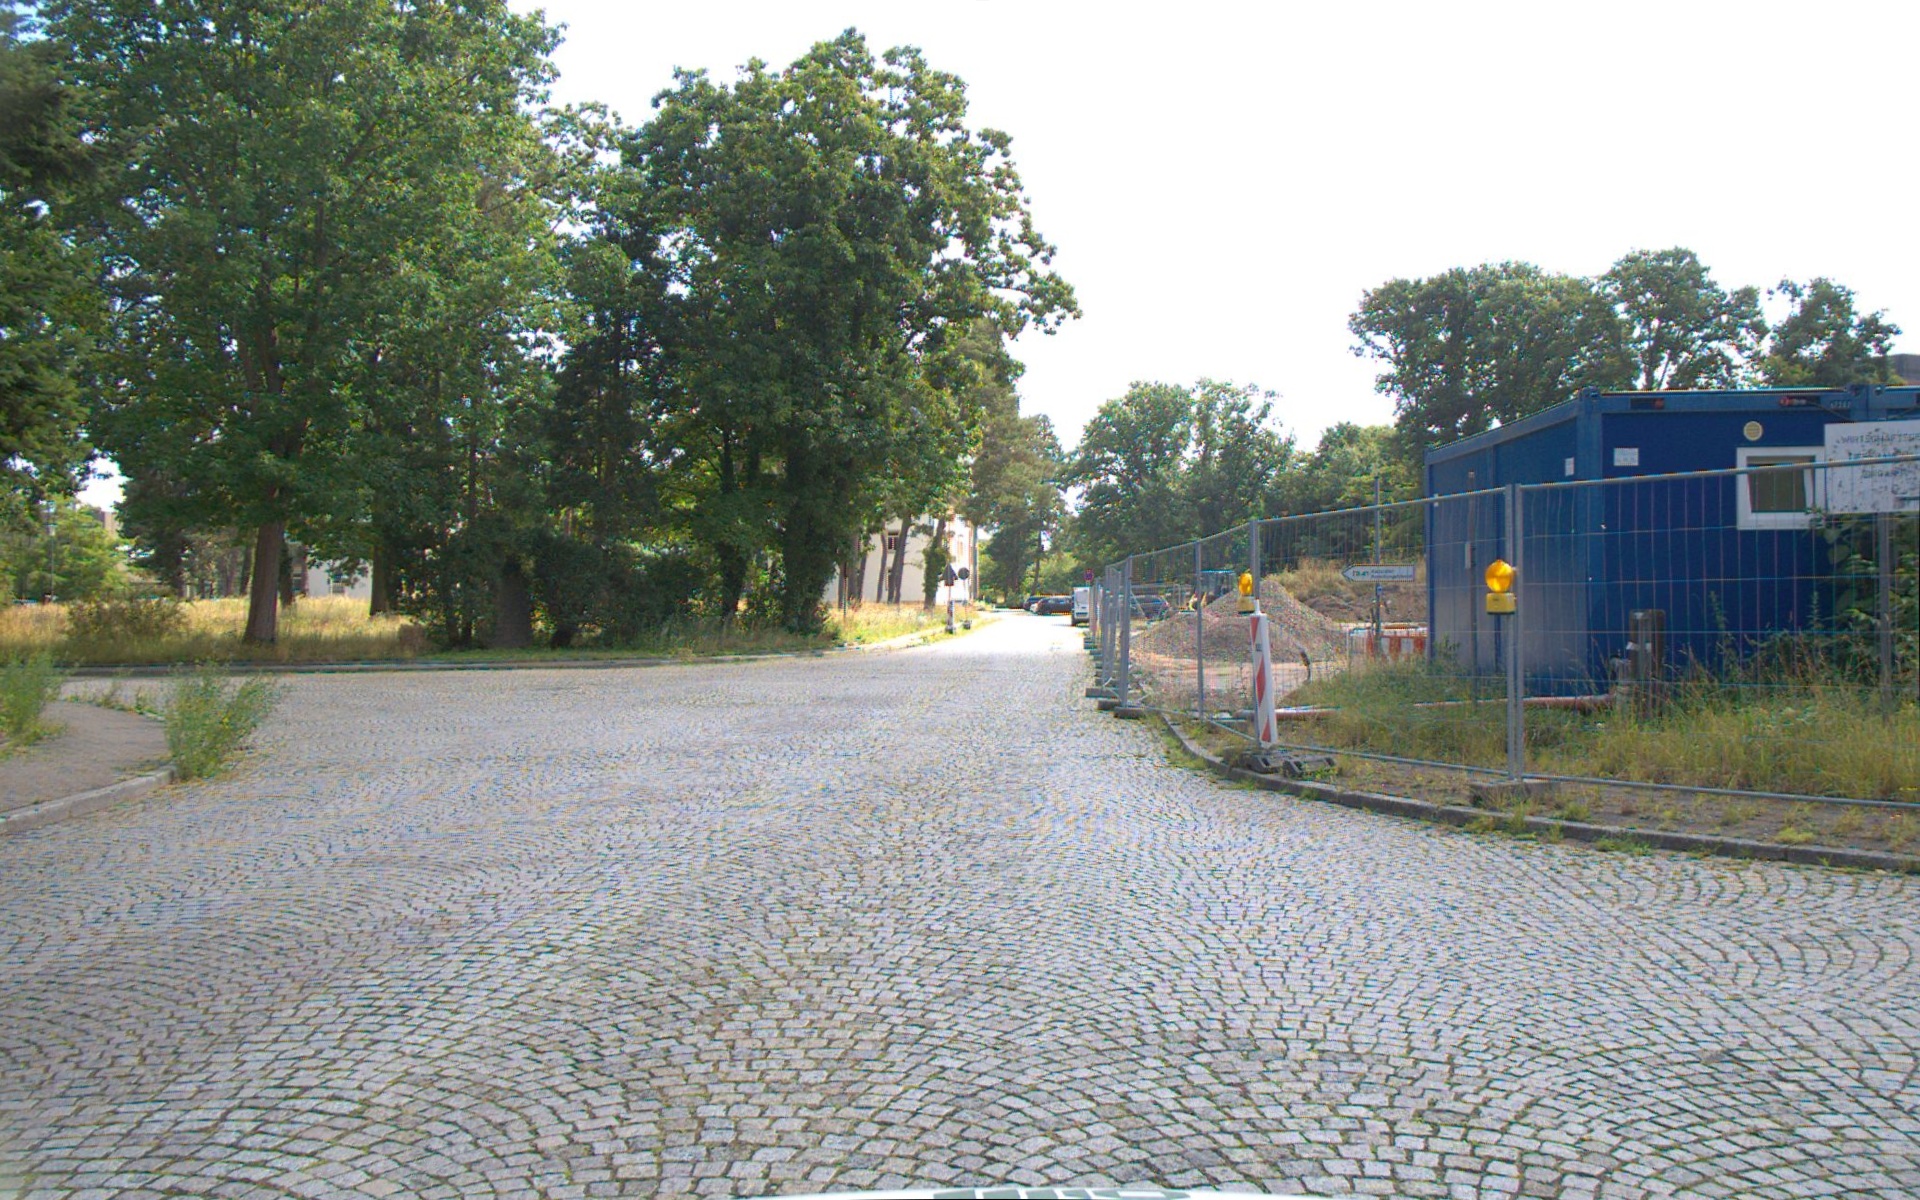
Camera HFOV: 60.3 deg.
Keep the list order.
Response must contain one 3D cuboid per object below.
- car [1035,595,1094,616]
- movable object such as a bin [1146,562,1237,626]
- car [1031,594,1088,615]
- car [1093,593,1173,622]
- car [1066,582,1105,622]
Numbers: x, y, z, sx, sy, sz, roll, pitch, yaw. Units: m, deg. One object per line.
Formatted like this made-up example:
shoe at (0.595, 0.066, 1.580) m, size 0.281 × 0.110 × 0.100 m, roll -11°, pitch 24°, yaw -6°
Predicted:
car at (8.611, 0.468, 136.185) m, size 4.683 × 1.669 × 1.999 m, roll 0°, pitch 0°, yaw -2°
movable object such as a bin at (9.886, -0.248, 70.474) m, size 2.090 × 2.638 × 4.778 m, roll 0°, pitch 0°, yaw 32°
car at (8.356, 0.380, 139.309) m, size 4.683 × 1.669 × 1.999 m, roll 0°, pitch 0°, yaw -2°
car at (9.805, 0.433, 93.487) m, size 4.308 × 1.537 × 2.002 m, roll 1°, pitch 0°, yaw 11°
car at (6.657, 0.091, 88.053) m, size 1.952 × 2.049 × 4.092 m, roll 0°, pitch 0°, yaw 2°
